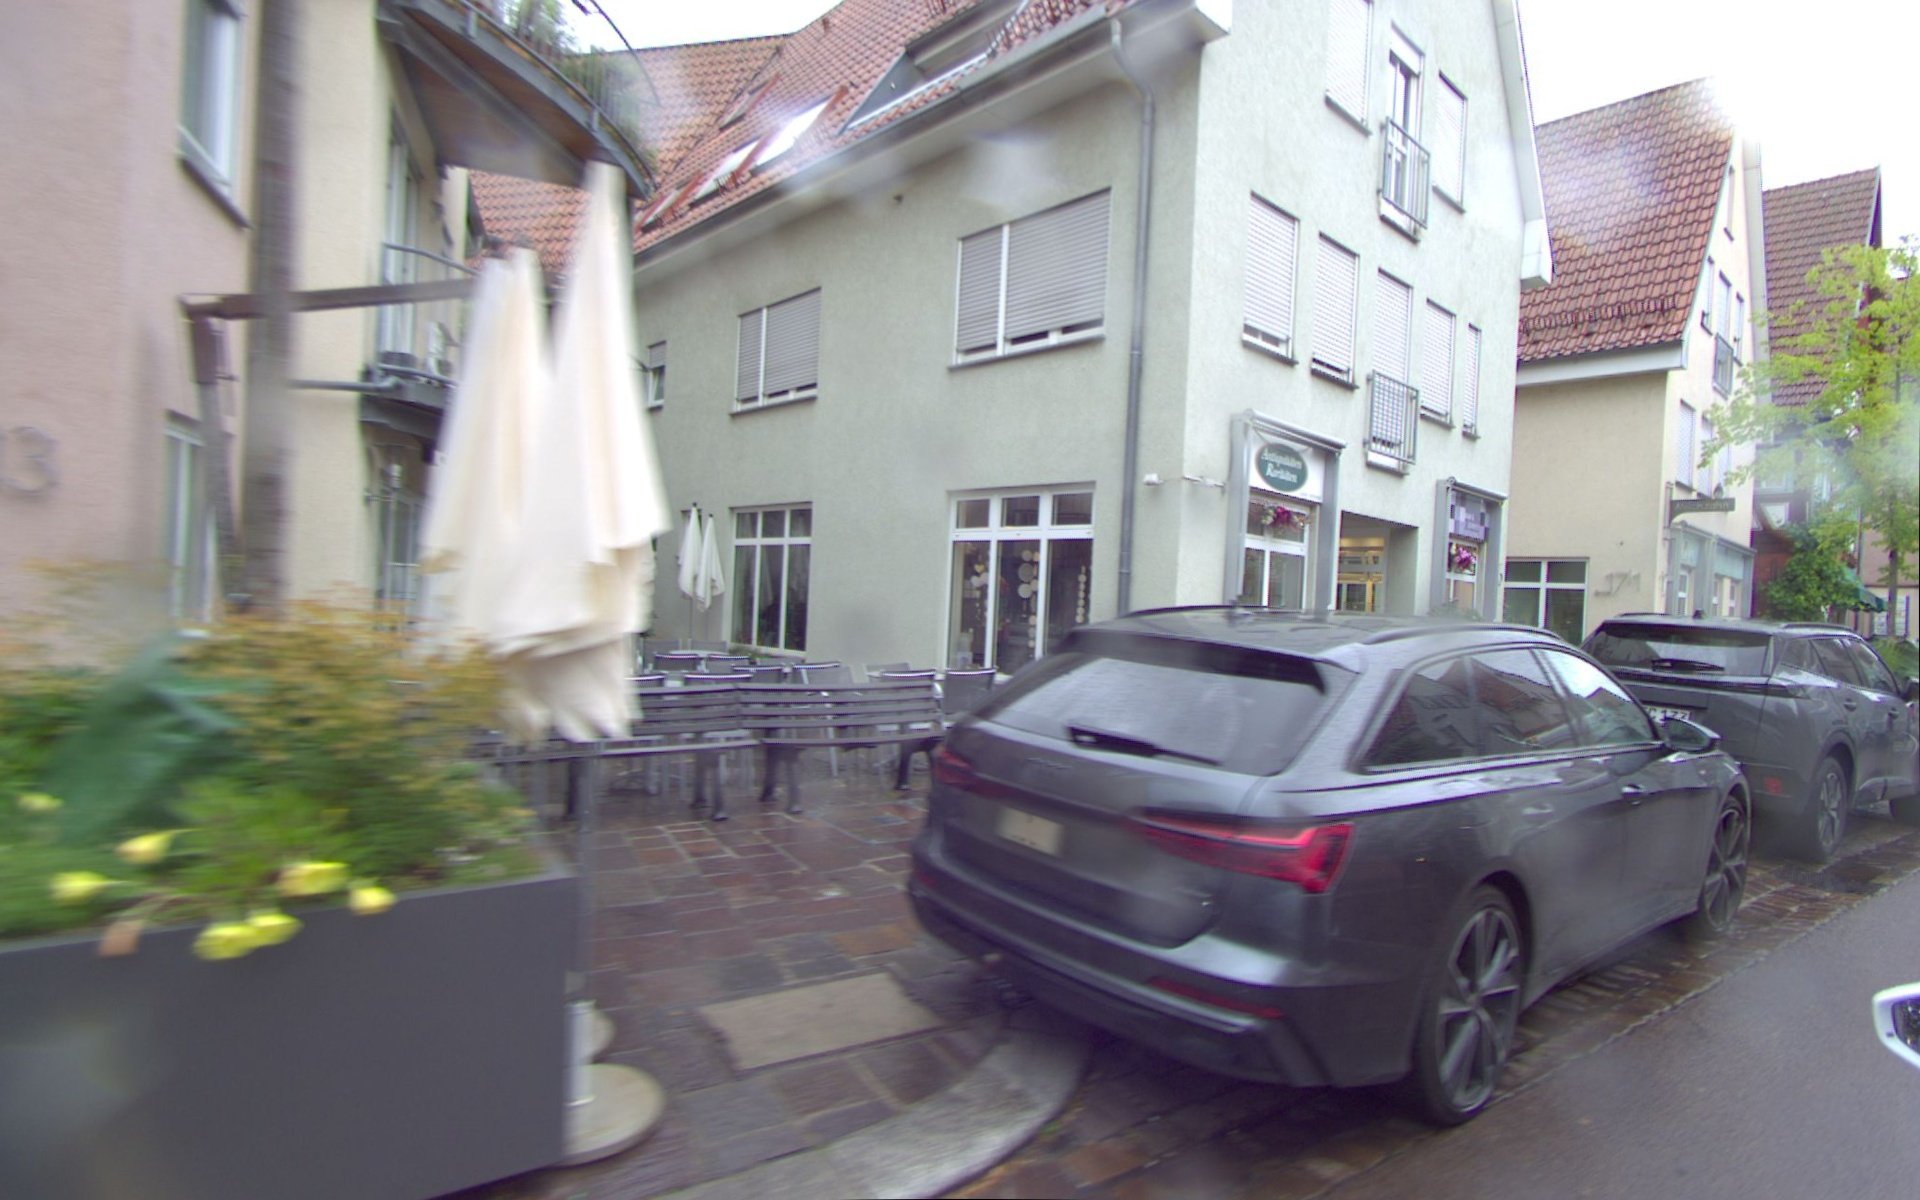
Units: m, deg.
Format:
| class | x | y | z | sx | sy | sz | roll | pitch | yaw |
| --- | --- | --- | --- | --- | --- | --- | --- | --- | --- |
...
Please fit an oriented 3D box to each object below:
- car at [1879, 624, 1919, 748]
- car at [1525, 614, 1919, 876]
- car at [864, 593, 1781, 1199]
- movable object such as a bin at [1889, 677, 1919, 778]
| class | x | y | z | sx | sy | sz | roll | pitch | yaw |
| --- | --- | --- | --- | --- | --- | --- | --- | --- | --- |
| car | 15.397 | 1.342 | 14.797 | 4.435 | 1.697 | 1.760 | 4 | 0 | -35 |
| car | 6.244 | 1.000 | 7.889 | 3.938 | 1.566 | 1.582 | 4 | -2 | -35 |
| car | 1.989 | 0.837 | 4.456 | 4.592 | 1.451 | 1.786 | 4 | -2 | -41 |
| movable object such as a bin | 10.872 | 1.430 | 11.178 | 0.718 | 1.093 | 0.617 | 4 | -2 | -34 |
